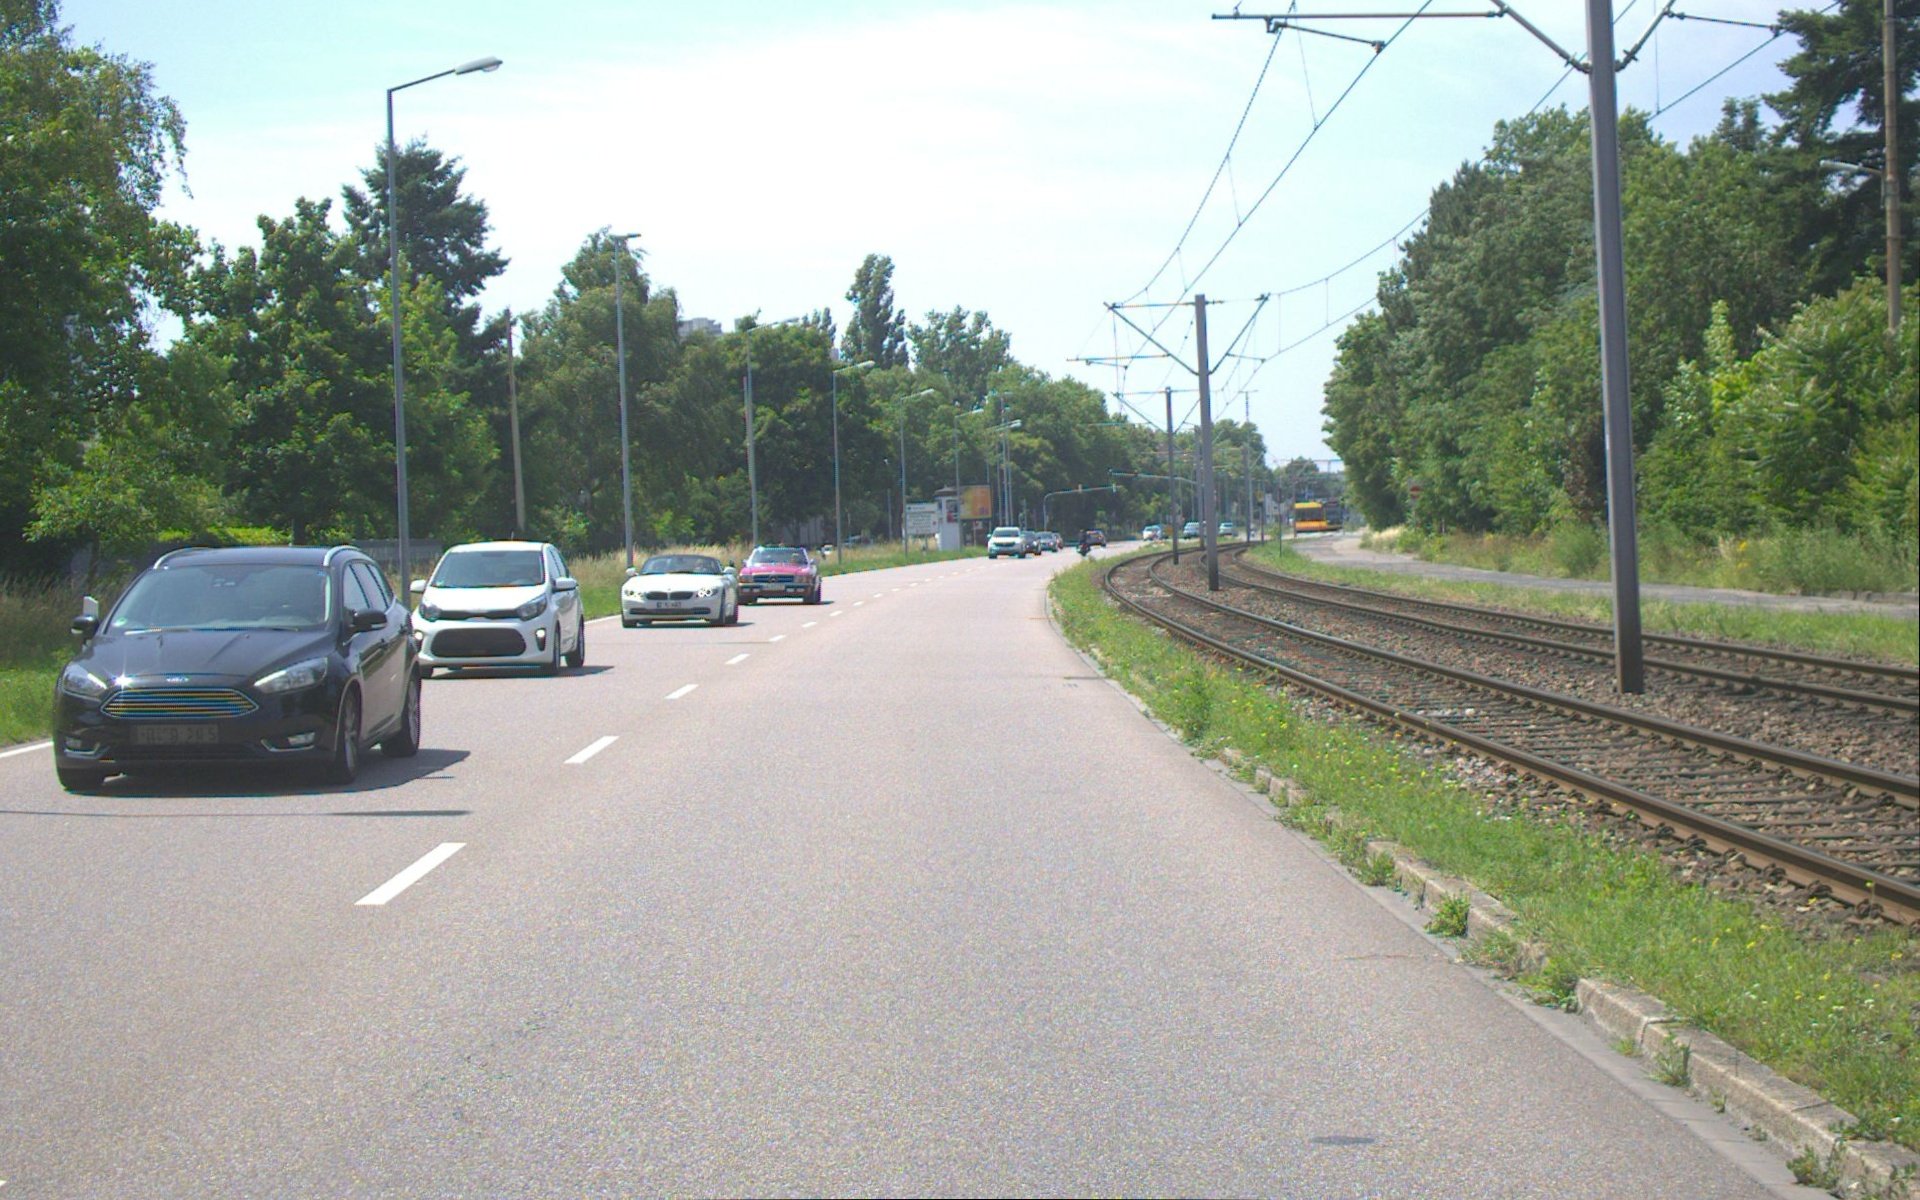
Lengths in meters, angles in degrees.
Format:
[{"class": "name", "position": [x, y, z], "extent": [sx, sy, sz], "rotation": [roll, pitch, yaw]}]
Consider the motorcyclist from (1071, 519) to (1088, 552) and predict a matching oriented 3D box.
[{"class": "motorcyclist", "position": [6.996, -3.799, 201.395], "extent": [0.891, 1.898, 1.015], "rotation": [-1, 1, 4]}]

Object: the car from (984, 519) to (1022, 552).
[{"class": "car", "position": [2.439, -3.637, 194.067], "extent": [1.935, 1.790, 4.711], "rotation": [-1, 1, 2]}]

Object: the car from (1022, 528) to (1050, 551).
[{"class": "car", "position": [5.209, -4.148, 236.283], "extent": [1.817, 1.488, 4.363], "rotation": [-1, 1, 2]}]

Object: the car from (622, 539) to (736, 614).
[{"class": "car", "position": [-4.890, -0.429, 60.206], "extent": [1.682, 1.245, 3.909], "rotation": [-1, 1, 0]}]

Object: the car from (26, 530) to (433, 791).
[{"class": "car", "position": [-4.594, 0.316, 22.232], "extent": [1.700, 1.486, 4.440], "rotation": [-1, 1, -1]}]

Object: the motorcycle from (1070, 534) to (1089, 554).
[{"class": "motorcycle", "position": [6.996, -3.294, 201.434], "extent": [0.970, 1.113, 2.732], "rotation": [-1, 1, 4]}]

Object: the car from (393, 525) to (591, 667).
[{"class": "car", "position": [-5.237, -0.071, 38.866], "extent": [1.747, 1.498, 3.707], "rotation": [-1, 1, -1]}]

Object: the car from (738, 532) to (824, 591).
[{"class": "car", "position": [-4.071, -0.895, 78.756], "extent": [1.749, 1.296, 4.253], "rotation": [-1, 1, 0]}]
